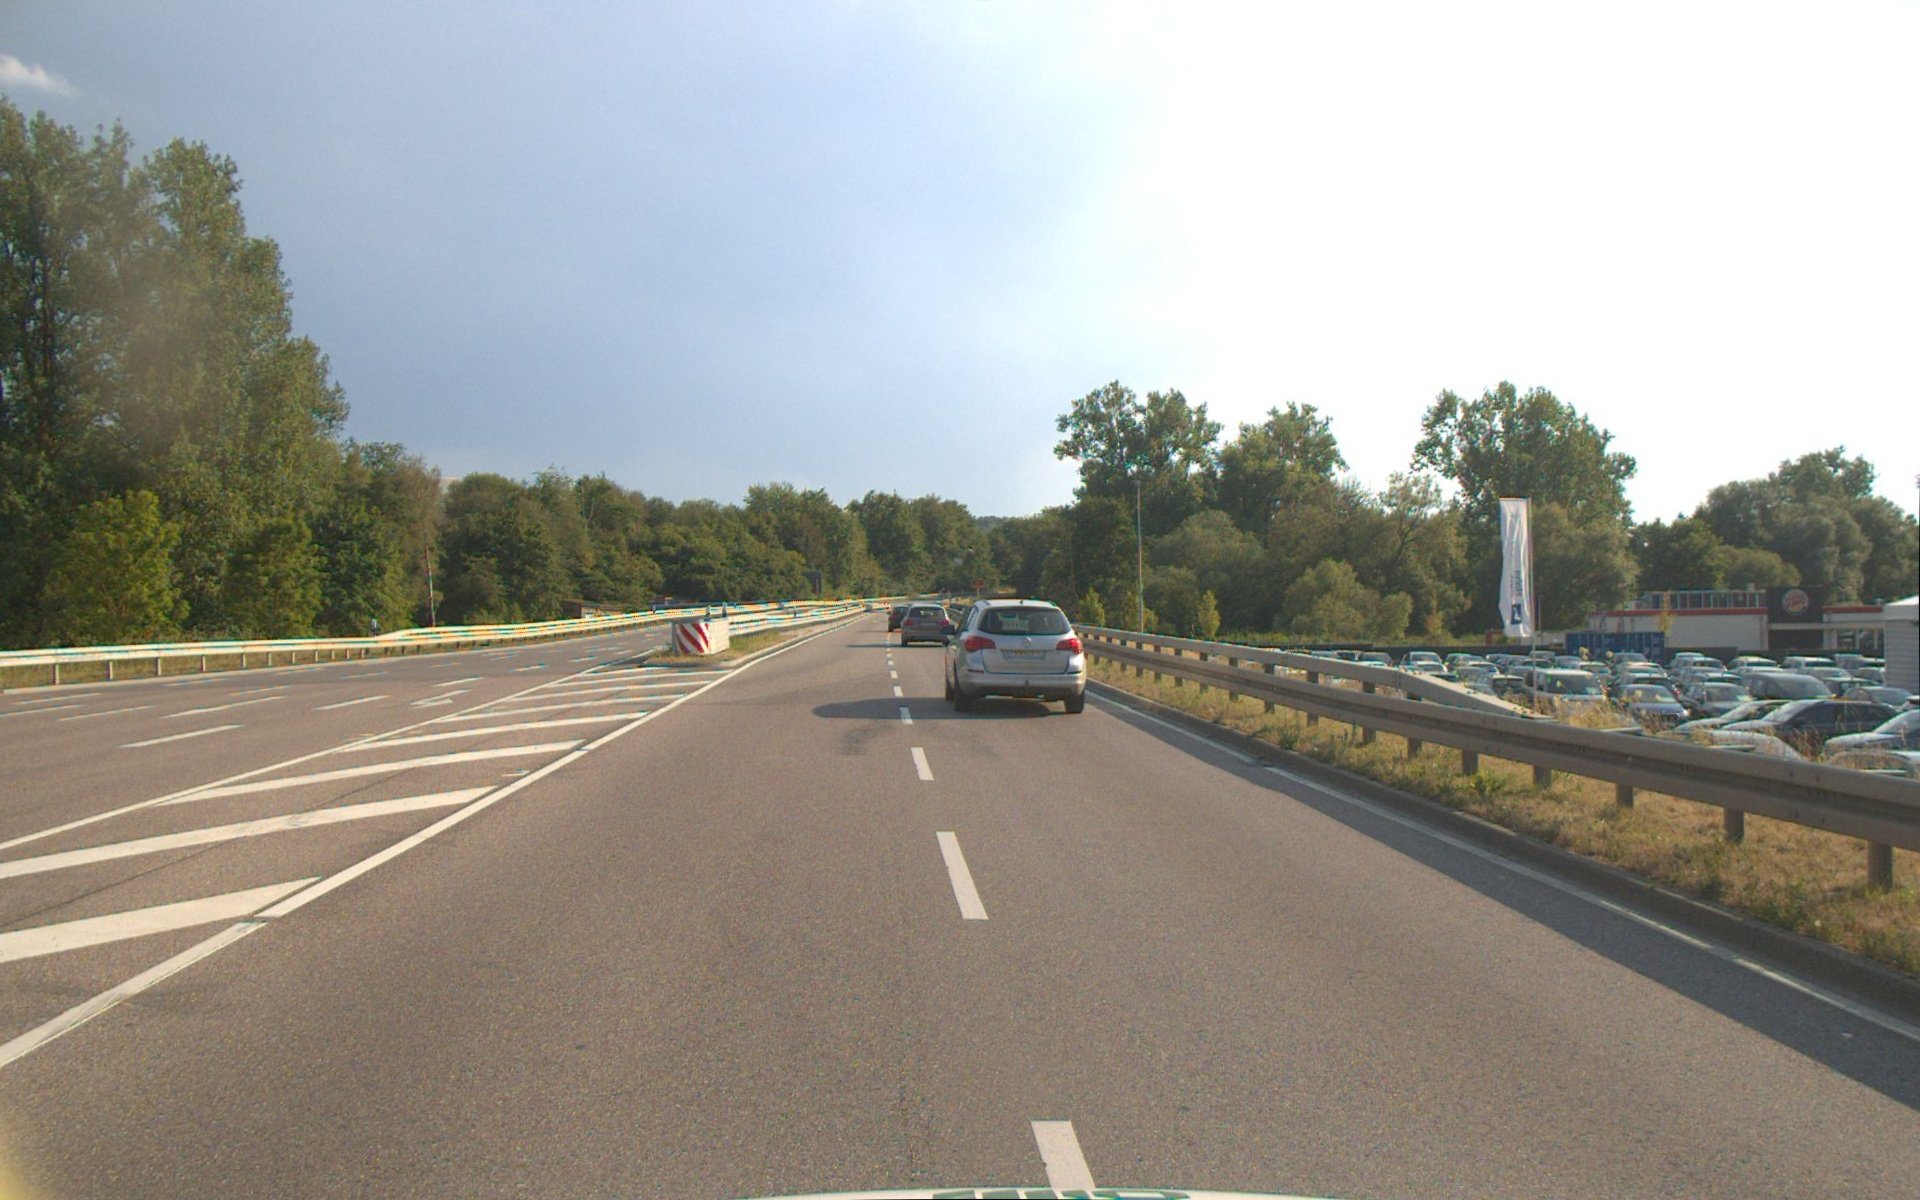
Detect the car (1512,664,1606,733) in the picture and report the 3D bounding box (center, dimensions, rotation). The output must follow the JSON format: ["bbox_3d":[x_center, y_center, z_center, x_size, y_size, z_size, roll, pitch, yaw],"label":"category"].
[{"bbox_3d":[18.924,3.073,52.471,1.840,1.965,4.733,1,-1,8],"label":"car"}]

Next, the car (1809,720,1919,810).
[{"bbox_3d":[18.818,3.252,32.552,3.402,1.601,1.630,1,-1,5],"label":"car"}]

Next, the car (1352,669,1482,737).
[{"bbox_3d":[12.620,2.831,46.019,1.844,1.654,4.722,1,-1,-7],"label":"car"}]

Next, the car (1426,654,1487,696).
[{"bbox_3d":[21.967,3.296,73.265,1.737,1.713,4.002,1,-1,4],"label":"car"}]

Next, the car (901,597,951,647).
[{"bbox_3d":[-1.168,0.754,56.506,1.633,1.601,3.998,1,-1,-2],"label":"car"}]

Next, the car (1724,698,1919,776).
[{"bbox_3d":[21.012,3.280,39.885,4.325,1.635,1.802,1,0,5],"label":"car"}]

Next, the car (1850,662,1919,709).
[{"bbox_3d":[36.696,3.295,64.400,1.840,1.665,4.574,1,-1,3],"label":"car"}]

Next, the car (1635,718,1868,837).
[{"bbox_3d":[13.520,2.993,28.567,1.703,1.654,4.307,1,-1,-5],"label":"car"}]

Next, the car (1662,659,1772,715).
[{"bbox_3d":[23.697,2.694,51.925,1.840,1.548,4.733,1,-1,8],"label":"car"}]

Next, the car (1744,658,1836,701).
[{"bbox_3d":[36.148,3.440,72.179,1.840,1.665,4.731,1,-1,3],"label":"car"}]

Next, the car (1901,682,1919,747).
[{"bbox_3d":[26.924,3.003,42.532,4.331,1.665,1.887,1,-1,5],"label":"car"}]

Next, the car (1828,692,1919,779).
[{"bbox_3d":[20.928,2.871,34.839,4.325,1.696,1.842,1,-1,5],"label":"car"}]

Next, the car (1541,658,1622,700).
[{"bbox_3d":[27.121,3.437,72.325,1.841,1.665,4.730,1,-1,2],"label":"car"}]

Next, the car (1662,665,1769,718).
[{"bbox_3d":[26.513,3.184,58.228,1.840,1.665,4.731,1,-1,3],"label":"car"}]

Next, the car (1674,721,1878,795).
[{"bbox_3d":[21.014,4.057,42.720,4.331,1.665,1.887,1,-1,5],"label":"car"}]

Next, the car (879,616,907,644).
[{"bbox_3d":[-3.695,1.664,91.237,1.462,1.502,3.357,1,-1,-2],"label":"car"}]

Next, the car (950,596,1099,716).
[{"bbox_3d":[0.819,0.757,23.283,1.773,1.512,3.998,1,-1,-2],"label":"car"}]

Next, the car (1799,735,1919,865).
[{"bbox_3d":[13.943,2.855,23.505,1.758,1.570,4.431,1,-1,-1],"label":"car"}]

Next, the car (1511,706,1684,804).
[{"bbox_3d":[12.881,3.096,33.698,1.702,1.654,4.309,1,-1,-3],"label":"car"}]

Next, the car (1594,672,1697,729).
[{"bbox_3d":[21.383,3.109,51.775,1.840,1.548,4.733,1,-1,8],"label":"car"}]

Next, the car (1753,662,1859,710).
[{"bbox_3d":[32.237,3.252,63.208,1.840,1.665,4.731,1,-1,3],"label":"car"}]

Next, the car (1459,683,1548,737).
[{"bbox_3d":[19.245,3.862,58.793,1.840,1.665,4.731,1,-1,3],"label":"car"}]
